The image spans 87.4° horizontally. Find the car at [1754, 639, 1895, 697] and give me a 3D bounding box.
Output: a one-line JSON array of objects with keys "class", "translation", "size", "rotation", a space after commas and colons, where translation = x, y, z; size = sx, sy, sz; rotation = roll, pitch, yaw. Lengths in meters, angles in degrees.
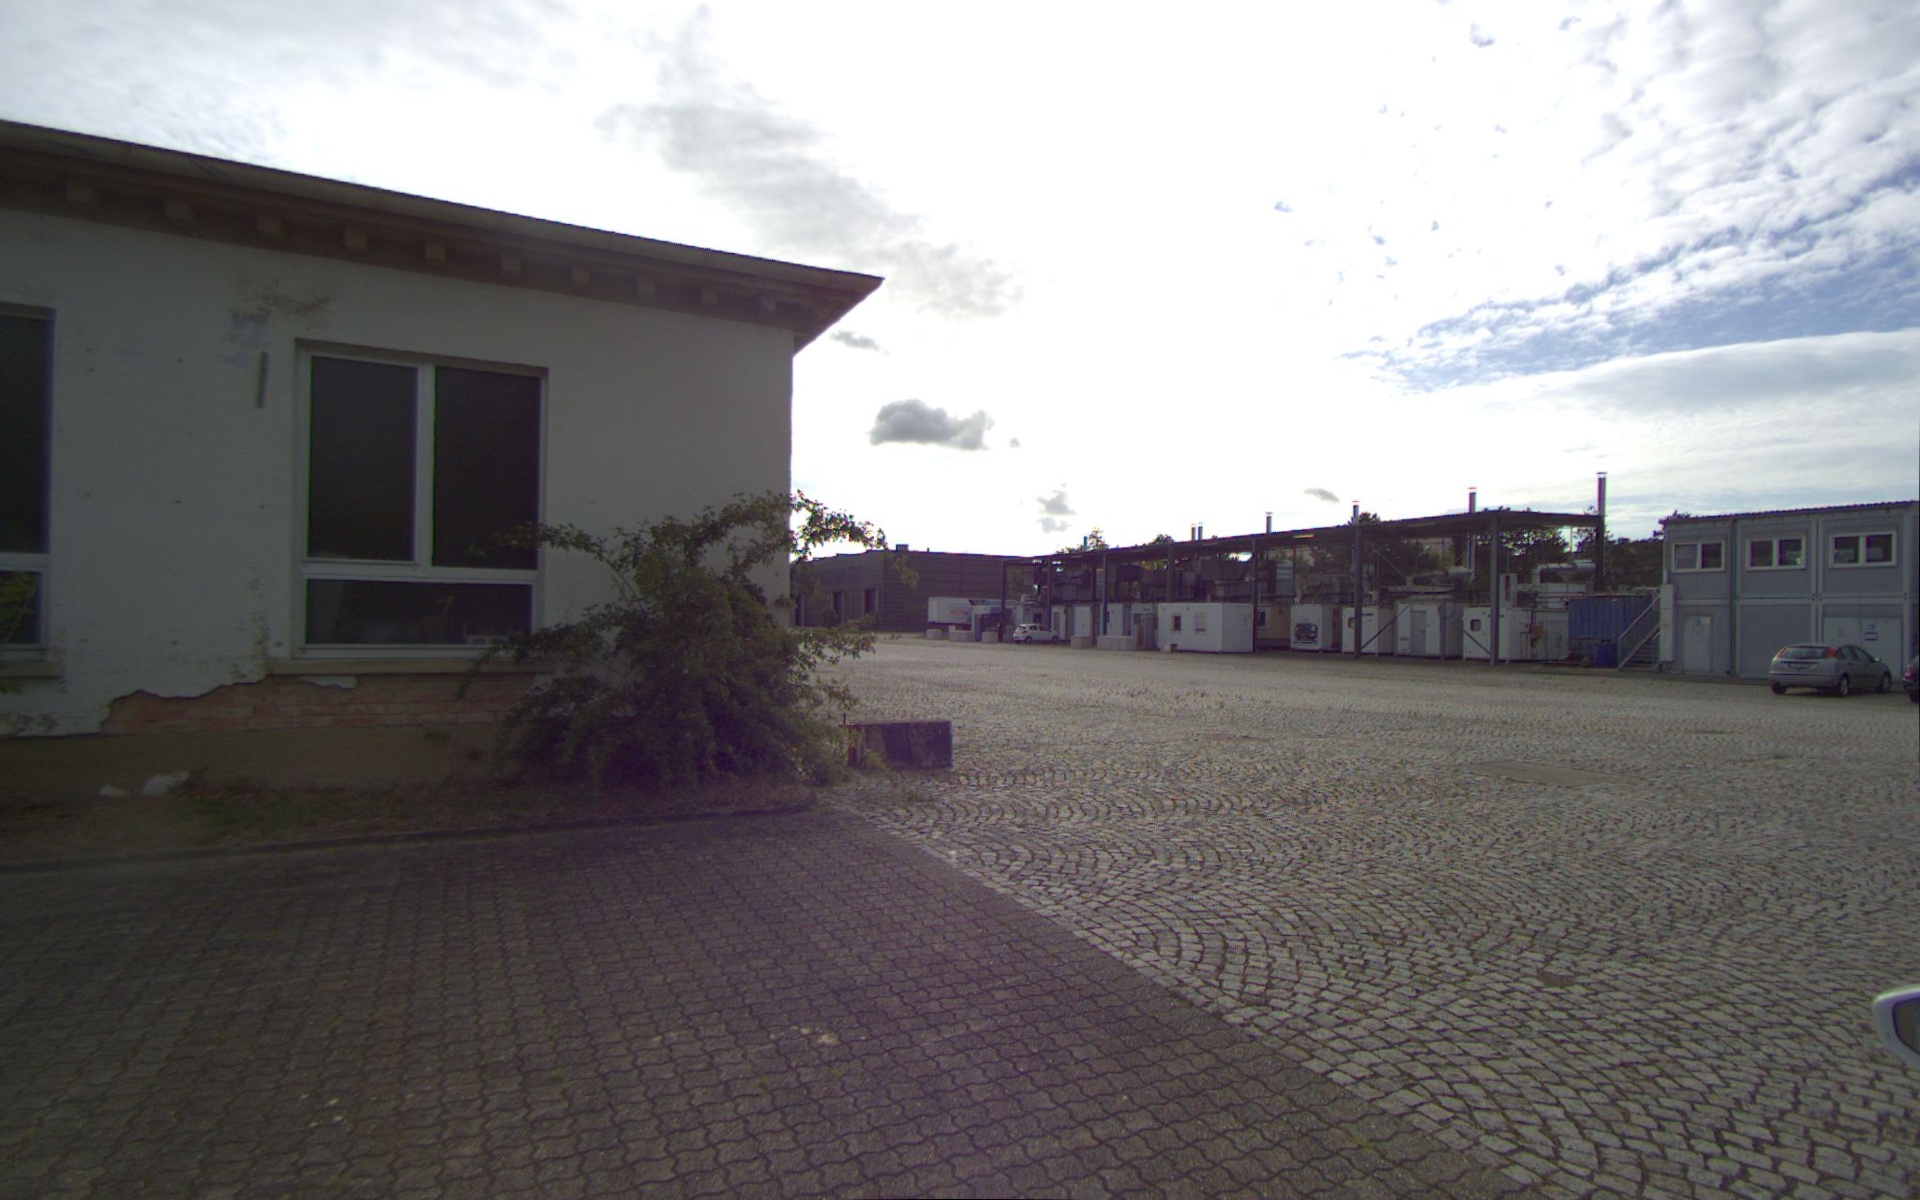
[{"class": "car", "translation": [25.395, 1.952, 29.494], "size": [3.997, 1.495, 1.898], "rotation": [0, -1, -29]}]

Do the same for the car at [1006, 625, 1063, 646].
[{"class": "car", "translation": [5.762, 2.740, 77.742], "size": [3.950, 1.512, 1.986], "rotation": [2, -2, -28]}]

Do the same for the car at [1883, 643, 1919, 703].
[{"class": "car", "translation": [26.667, 1.896, 26.467], "size": [4.471, 1.472, 2.029], "rotation": [0, -1, -27]}]
